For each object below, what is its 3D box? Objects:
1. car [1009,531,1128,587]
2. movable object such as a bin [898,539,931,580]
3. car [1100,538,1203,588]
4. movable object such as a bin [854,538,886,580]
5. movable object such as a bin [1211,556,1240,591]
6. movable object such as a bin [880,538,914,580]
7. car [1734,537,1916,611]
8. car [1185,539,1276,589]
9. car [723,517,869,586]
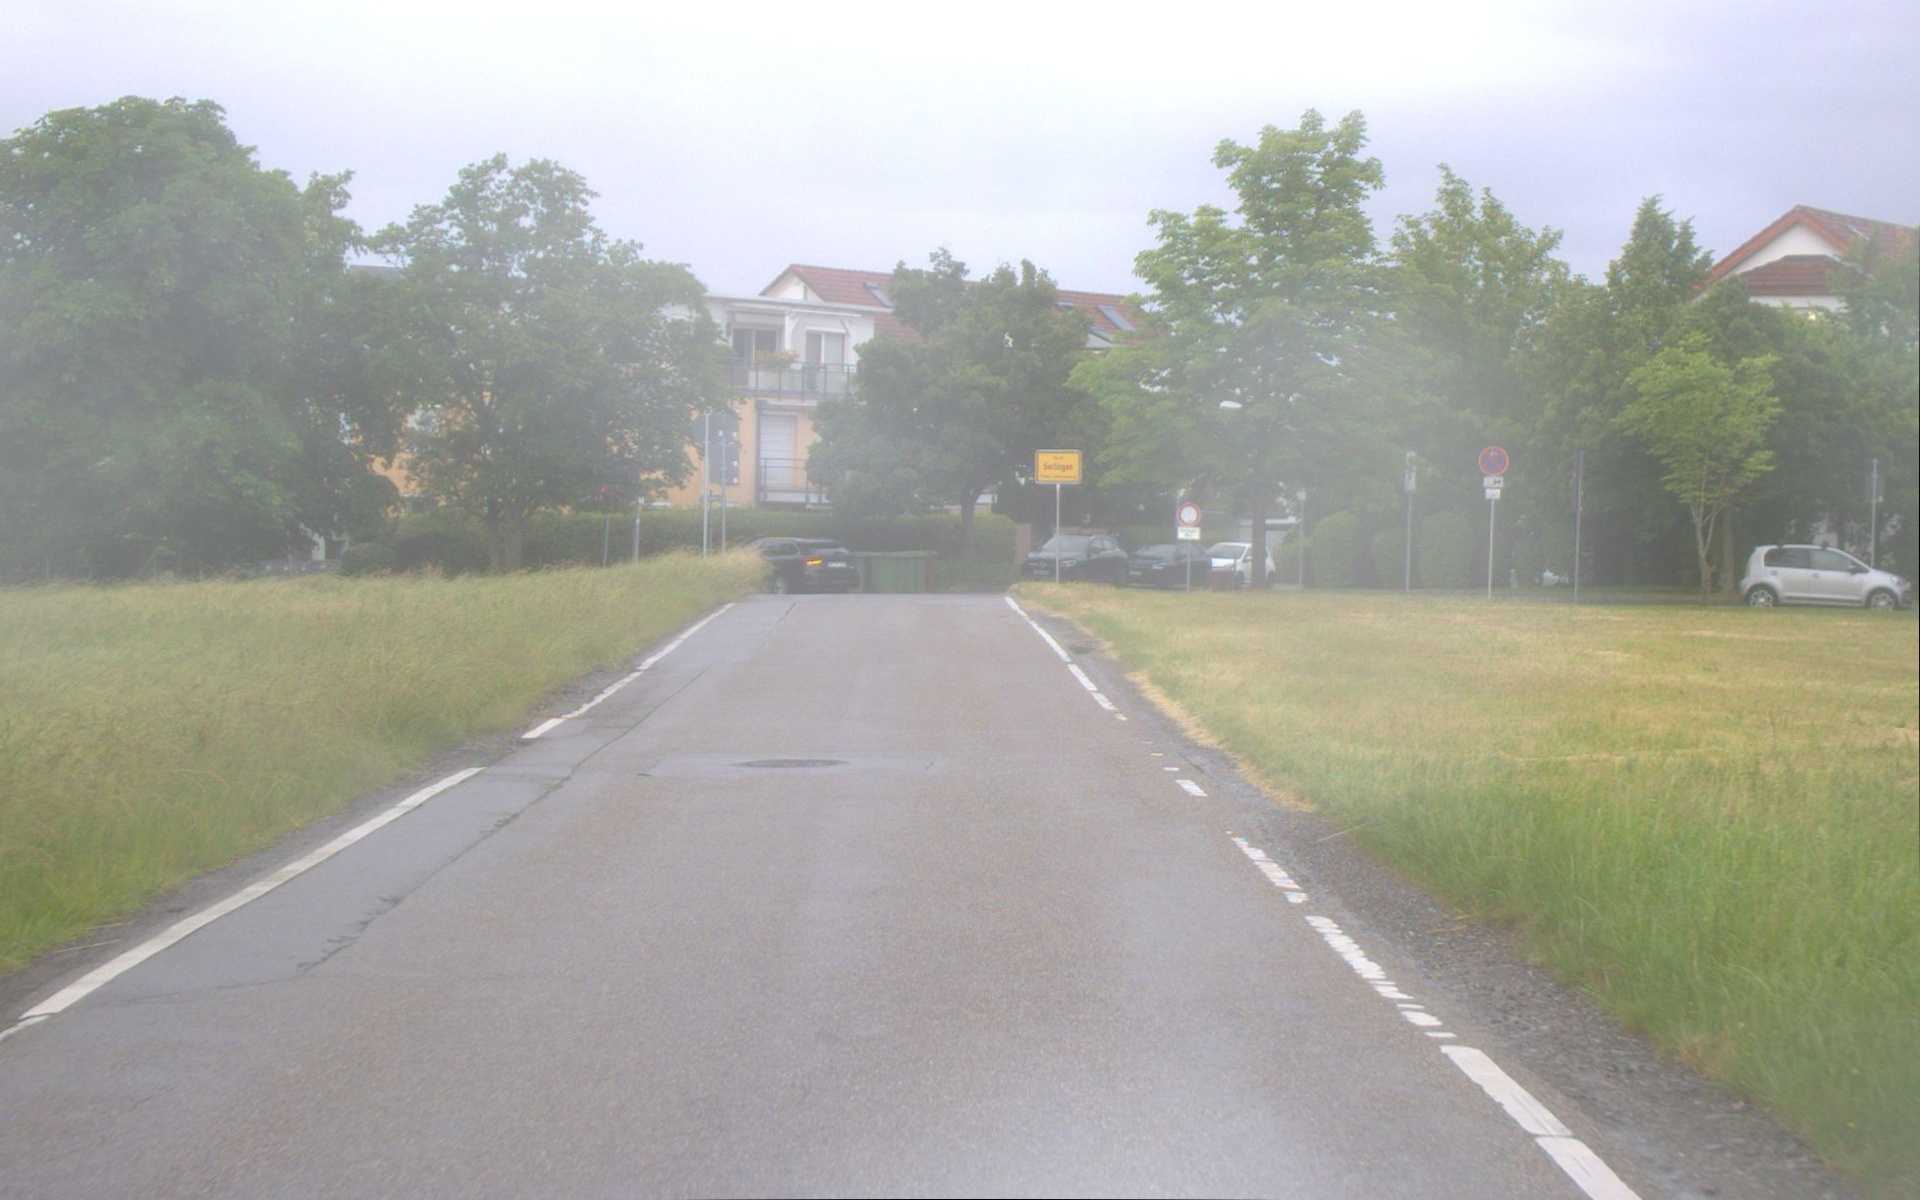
[{"bbox_3d":[3.182,-1.176,100.116,1.778,1.513,4.131,4,2,28],"label":"car"},{"bbox_3d":[-1.184,-1.057,89.951,0.695,1.063,0.578,1,1,20],"label":"movable object such as a bin"},{"bbox_3d":[5.886,-1.121,105.262,1.638,1.404,3.599,4,2,30],"label":"car"},{"bbox_3d":[-2.325,-1.068,89.024,0.666,1.070,0.543,1,1,21],"label":"movable object such as a bin"},{"bbox_3d":[7.140,-0.712,92.557,0.571,0.928,0.529,2,1,33],"label":"movable object such as a bin"},{"bbox_3d":[-1.631,-1.052,88.775,0.695,1.071,0.601,1,1,20],"label":"movable object such as a bin"},{"bbox_3d":[17.919,-0.528,71.169,3.546,1.474,1.678,1,0,18],"label":"car"},{"bbox_3d":[8.642,-1.139,109.650,1.513,1.471,3.268,4,2,31],"label":"car"},{"bbox_3d":[-3.795,-1.111,79.223,1.686,1.547,3.697,1,0,-33],"label":"car"}]
